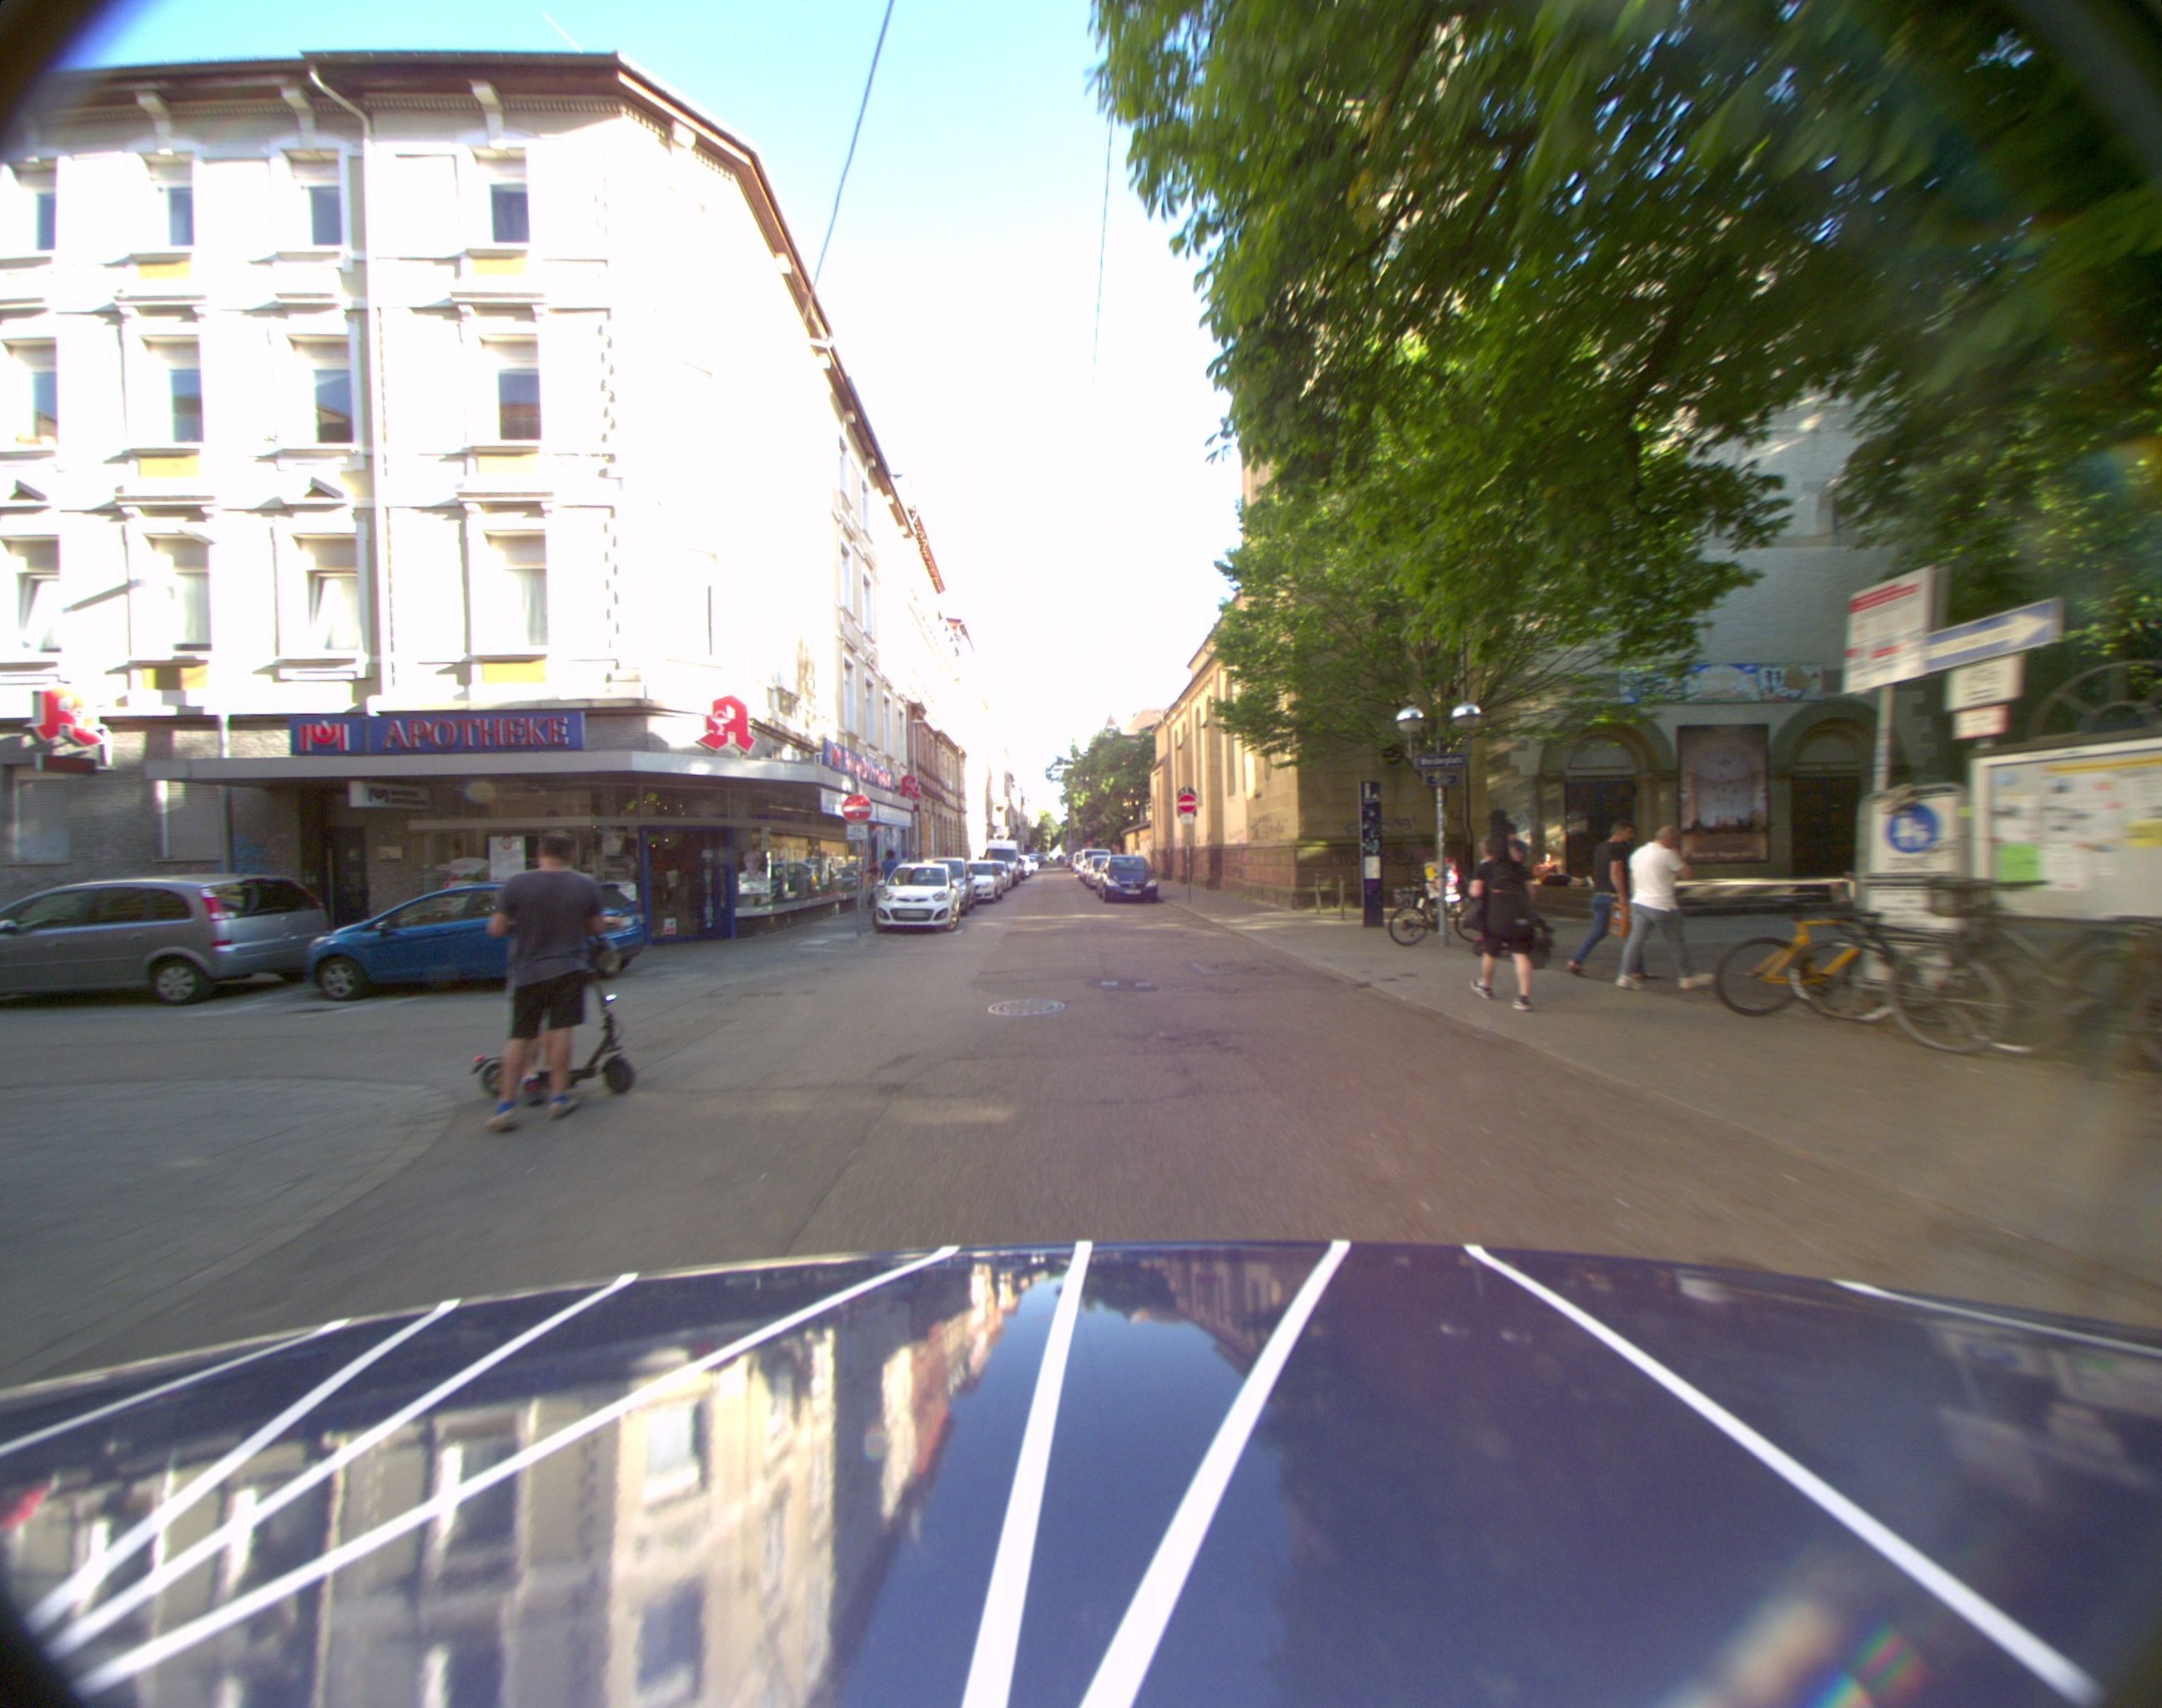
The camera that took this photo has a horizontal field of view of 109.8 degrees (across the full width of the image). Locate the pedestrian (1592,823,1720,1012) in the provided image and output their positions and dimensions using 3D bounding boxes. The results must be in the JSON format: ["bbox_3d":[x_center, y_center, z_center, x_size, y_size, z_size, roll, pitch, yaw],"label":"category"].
[{"bbox_3d":[5.878,0.618,7.802,0.763,1.825,0.688,-2,1,-4],"label":"pedestrian"}]

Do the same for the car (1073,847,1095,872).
[{"bbox_3d":[0.250,0.468,69.014,1.777,2.128,4.021,-2,0,-2],"label":"car"}]

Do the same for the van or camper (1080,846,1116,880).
[{"bbox_3d":[1.002,0.549,46.919,1.984,1.940,4.562,-2,0,-2],"label":"van or camper"}]

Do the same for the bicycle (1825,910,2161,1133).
[{"bbox_3d":[5.684,0.946,4.825,0.293,1.076,1.578,-2,0,-2],"label":"bicycle"}]

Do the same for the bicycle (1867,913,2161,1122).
[{"bbox_3d":[6.007,0.949,4.835,0.293,1.040,1.578,-2,0,-2],"label":"bicycle"}]

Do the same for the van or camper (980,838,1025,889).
[{"bbox_3d":[-4.414,0.455,43.386,1.999,2.617,5.977,-2,1,-2],"label":"van or camper"}]

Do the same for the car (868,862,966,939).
[{"bbox_3d":[-3.648,0.976,17.483,1.694,1.454,3.638,-2,1,-5],"label":"car"}]

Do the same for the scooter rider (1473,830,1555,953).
[{"bbox_3d":[6.062,0.504,10.669,0.689,1.638,0.720,-2,1,-3],"label":"scooter rider"}]

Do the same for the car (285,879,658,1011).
[{"bbox_3d":[-8.152,1.173,10.471,3.583,1.478,1.788,-1,2,-2],"label":"car"}]

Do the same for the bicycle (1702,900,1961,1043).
[{"bbox_3d":[6.006,0.944,6.126,1.576,1.076,0.347,-2,1,9],"label":"bicycle"}]

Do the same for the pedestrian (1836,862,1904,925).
[{"bbox_3d":[16.074,0.786,15.491,0.615,1.224,0.741,-2,1,-3],"label":"pedestrian"}]

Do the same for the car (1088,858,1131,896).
[{"bbox_3d":[1.121,0.909,31.695,1.577,1.356,4.145,-2,1,0],"label":"car"}]

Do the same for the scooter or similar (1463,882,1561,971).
[{"bbox_3d":[6.026,1.001,10.645,1.057,1.153,0.514,-2,1,-3],"label":"scooter or similar"}]

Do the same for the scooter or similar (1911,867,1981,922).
[{"bbox_3d":[16.621,0.780,14.606,0.732,1.000,0.505,-2,1,9],"label":"scooter or similar"}]

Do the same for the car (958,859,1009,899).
[{"bbox_3d":[-4.077,1.013,32.224,1.590,1.478,3.912,-2,1,0],"label":"car"}]

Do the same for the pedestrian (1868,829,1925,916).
[{"bbox_3d":[15.789,0.350,14.719,0.561,1.622,0.549,-3,1,-14],"label":"pedestrian"}]

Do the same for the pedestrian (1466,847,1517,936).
[{"bbox_3d":[7.610,0.675,14.110,0.480,1.584,0.714,-2,1,-5],"label":"pedestrian"}]

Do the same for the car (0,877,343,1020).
[{"bbox_3d":[-12.599,1.201,10.149,3.745,1.621,1.629,-1,2,-2],"label":"car"}]

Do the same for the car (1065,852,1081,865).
[{"bbox_3d":[-1.074,0.579,97.615,1.777,1.614,4.021,-2,0,-3],"label":"car"}]

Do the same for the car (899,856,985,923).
[{"bbox_3d":[-4.014,0.957,22.666,1.804,1.641,4.485,-2,1,-2],"label":"car"}]

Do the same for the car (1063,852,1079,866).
[{"bbox_3d":[-1.197,0.592,92.954,1.777,1.614,4.021,-2,0,-3],"label":"car"}]

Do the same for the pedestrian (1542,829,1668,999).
[{"bbox_3d":[5.989,0.647,8.737,0.695,1.815,1.002,-2,1,-4],"label":"pedestrian"}]

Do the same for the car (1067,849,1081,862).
[{"bbox_3d":[-0.995,0.169,103.468,1.777,1.614,4.021,-2,0,-3],"label":"car"}]

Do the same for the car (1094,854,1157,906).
[{"bbox_3d":[1.459,0.844,26.228,1.799,1.543,3.833,-2,1,-1],"label":"car"}]

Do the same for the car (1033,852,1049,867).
[{"bbox_3d":[-4.588,0.647,88.318,1.696,1.615,3.962,-2,0,-2],"label":"car"}]

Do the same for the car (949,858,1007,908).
[{"bbox_3d":[-3.637,0.965,27.362,1.558,1.518,4.199,-2,1,-2],"label":"car"}]

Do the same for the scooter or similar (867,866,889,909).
[{"bbox_3d":[-6.343,1.043,23.799,0.396,1.272,1.036,-2,1,-2],"label":"scooter or similar"}]

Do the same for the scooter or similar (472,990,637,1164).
[{"bbox_3d":[-3.342,1.384,4.897,0.394,0.824,0.925,-2,1,-1],"label":"scooter or similar"}]

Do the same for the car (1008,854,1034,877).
[{"bbox_3d":[-4.515,0.837,57.771,1.696,1.615,3.962,-2,0,-2],"label":"car"}]

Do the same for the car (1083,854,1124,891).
[{"bbox_3d":[1.036,0.834,36.550,1.724,1.558,3.999,-2,1,-1],"label":"car"}]

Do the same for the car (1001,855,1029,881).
[{"bbox_3d":[-4.513,0.925,52.359,1.696,1.615,3.812,-2,0,-2],"label":"car"}]

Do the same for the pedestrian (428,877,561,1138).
[{"bbox_3d":[-4.010,0.991,5.200,0.527,1.629,0.566,-1,2,42],"label":"pedestrian"}]

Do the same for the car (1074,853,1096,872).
[{"bbox_3d":[0.294,0.667,63.602,1.696,1.529,3.812,-2,0,-2],"label":"car"}]

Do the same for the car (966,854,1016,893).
[{"bbox_3d":[-4.372,0.909,37.526,1.999,1.637,4.562,-2,1,-2],"label":"car"}]

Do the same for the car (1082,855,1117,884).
[{"bbox_3d":[0.980,0.823,41.512,1.696,1.472,3.735,-2,0,-2],"label":"car"}]

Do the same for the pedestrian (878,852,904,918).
[{"bbox_3d":[-5.573,0.891,22.303,0.563,1.883,0.530,-2,1,-2],"label":"pedestrian"}]

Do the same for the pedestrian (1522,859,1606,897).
[{"bbox_3d":[10.845,0.532,17.119,0.959,0.756,1.406,-2,1,-2],"label":"pedestrian"}]

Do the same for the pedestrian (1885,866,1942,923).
[{"bbox_3d":[16.882,0.818,15.407,0.616,1.101,0.490,-2,1,-3],"label":"pedestrian"}]

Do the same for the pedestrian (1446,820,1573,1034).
[{"bbox_3d":[3.945,0.639,7.046,0.718,1.862,0.720,-2,1,-2],"label":"pedestrian"}]

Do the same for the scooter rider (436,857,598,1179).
[{"bbox_3d":[-3.416,0.920,4.613,0.610,1.768,0.566,-1,2,38],"label":"scooter rider"}]

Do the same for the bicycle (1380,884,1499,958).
[{"bbox_3d":[5.584,1.037,11.853,1.694,1.059,0.346,-2,1,-4],"label":"bicycle"}]
